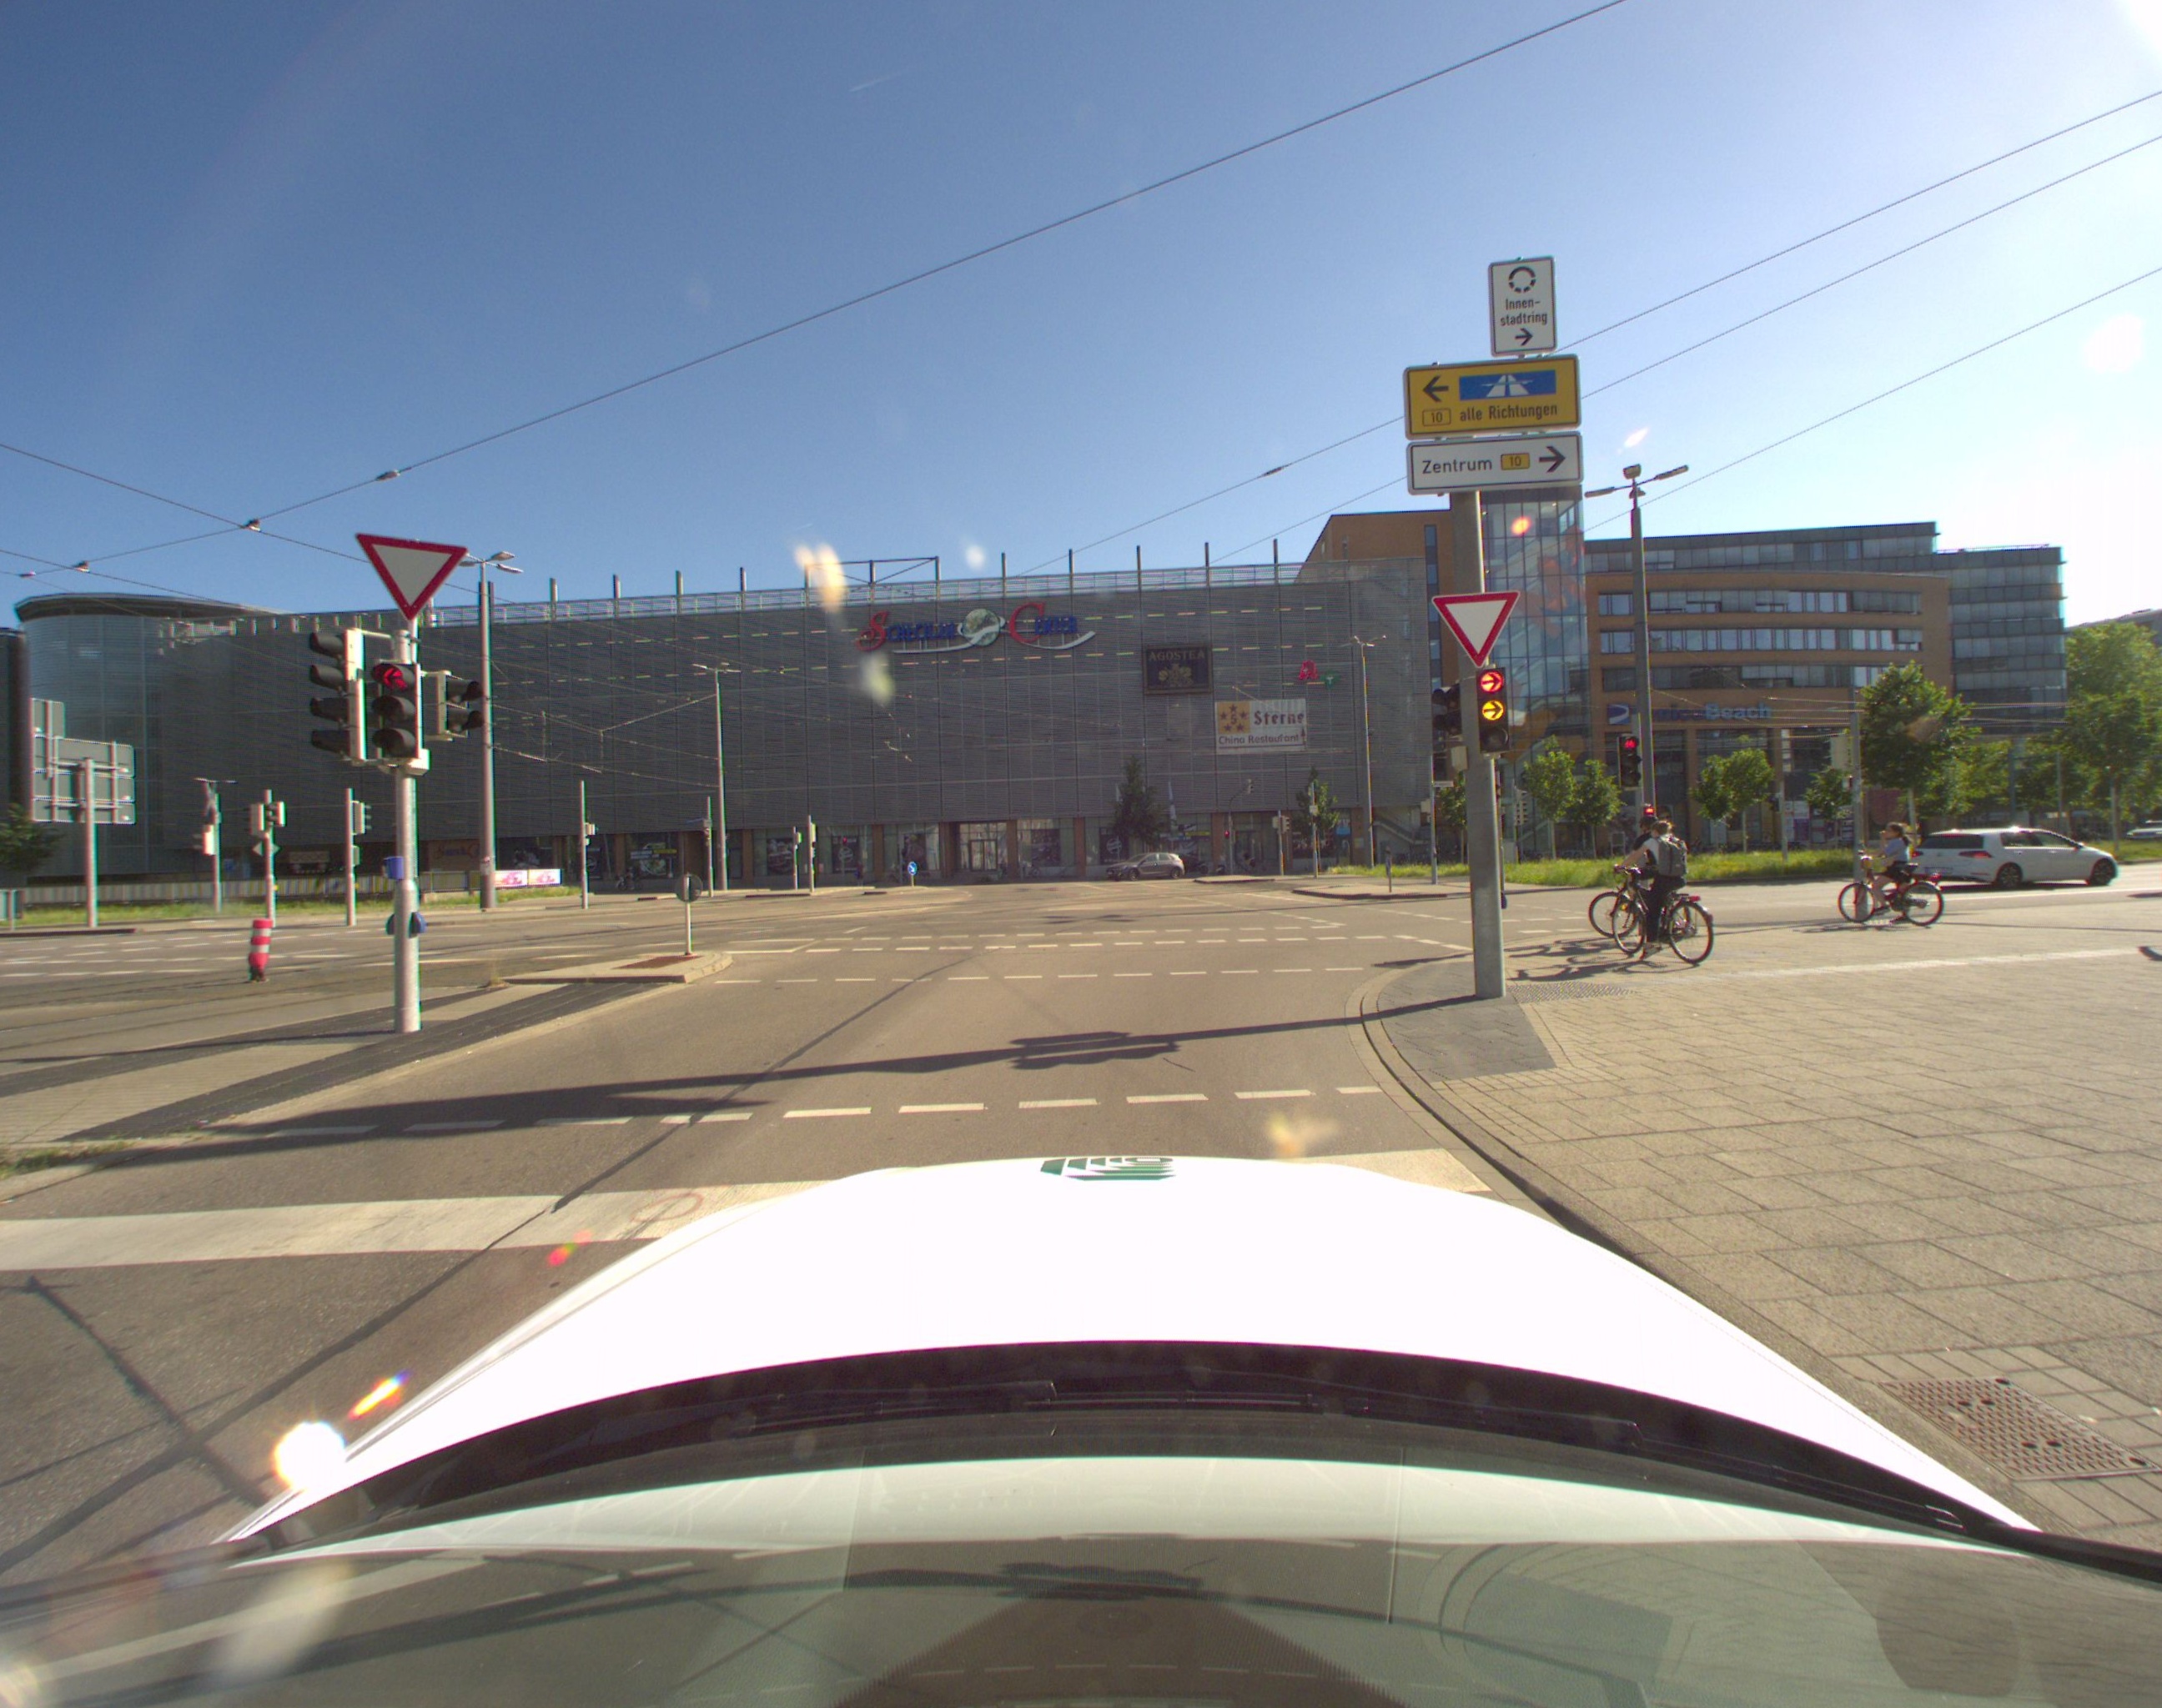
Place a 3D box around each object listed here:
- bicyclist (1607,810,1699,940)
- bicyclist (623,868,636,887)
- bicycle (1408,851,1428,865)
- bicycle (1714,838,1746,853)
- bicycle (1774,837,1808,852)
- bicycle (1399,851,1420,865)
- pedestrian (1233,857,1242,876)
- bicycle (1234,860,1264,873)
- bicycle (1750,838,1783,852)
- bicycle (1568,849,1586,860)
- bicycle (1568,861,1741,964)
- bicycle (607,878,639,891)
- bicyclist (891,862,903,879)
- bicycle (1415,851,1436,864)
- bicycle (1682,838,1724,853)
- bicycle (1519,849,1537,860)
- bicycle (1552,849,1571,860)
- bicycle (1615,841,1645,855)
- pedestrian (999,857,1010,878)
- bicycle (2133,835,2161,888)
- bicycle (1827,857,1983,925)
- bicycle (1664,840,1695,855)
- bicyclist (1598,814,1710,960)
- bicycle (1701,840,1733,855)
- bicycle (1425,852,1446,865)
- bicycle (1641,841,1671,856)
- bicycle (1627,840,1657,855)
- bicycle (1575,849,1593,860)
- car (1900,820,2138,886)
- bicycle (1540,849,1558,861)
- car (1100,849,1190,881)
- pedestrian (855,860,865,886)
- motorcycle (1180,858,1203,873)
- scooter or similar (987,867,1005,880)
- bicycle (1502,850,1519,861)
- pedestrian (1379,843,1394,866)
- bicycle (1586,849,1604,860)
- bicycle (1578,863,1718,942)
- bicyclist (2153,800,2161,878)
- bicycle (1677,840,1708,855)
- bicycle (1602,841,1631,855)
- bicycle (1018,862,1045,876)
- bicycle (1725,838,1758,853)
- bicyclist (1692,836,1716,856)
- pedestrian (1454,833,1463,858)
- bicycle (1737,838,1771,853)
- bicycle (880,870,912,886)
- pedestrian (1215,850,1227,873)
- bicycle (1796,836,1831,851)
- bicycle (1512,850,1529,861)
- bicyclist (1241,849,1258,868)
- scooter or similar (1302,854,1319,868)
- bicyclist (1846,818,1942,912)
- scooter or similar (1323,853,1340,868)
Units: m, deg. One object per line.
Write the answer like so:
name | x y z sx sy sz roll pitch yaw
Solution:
bicyclist | 8.306 0.298 11.864 0.547 1.798 0.905 -3 -2 -3
bicyclist | -33.359 1.719 60.152 0.652 1.410 0.560 -2 -1 0
bicycle | 25.043 0.283 60.545 0.490 0.954 2.178 -2 1 -3
bicycle | 51.494 -0.658 64.650 0.749 1.123 2.178 -2 1 -3
bicycle | 56.494 -0.775 64.833 0.749 1.123 2.178 -2 1 -3
bicycle | 24.396 0.291 60.523 0.490 0.954 2.178 -2 1 -3
pedestrian | 10.451 0.825 54.518 0.392 1.229 0.452 -2 -1 35
bicycle | 11.998 0.879 58.229 2.034 0.867 0.682 -2 -1 1
bicycle | 54.545 -0.710 64.816 0.749 1.123 2.178 -2 1 -3
bicycle | 37.683 0.040 61.897 0.443 0.819 1.449 -2 1 -3
bicycle | 6.944 0.672 10.010 0.692 1.105 2.012 -3 -2 2
bicycle | -33.836 2.252 60.126 2.008 0.811 0.560 -2 -1 0
bicyclist | -12.477 1.115 55.215 0.565 1.139 0.554 -1 -1 -31
bicycle | 25.615 0.260 60.575 0.490 0.954 2.178 -2 1 -3
bicycle | 46.326 -0.653 60.682 2.550 1.010 0.598 -2 -1 3
bicycle | 34.174 0.064 62.254 0.443 0.819 1.449 -2 1 -3
bicycle | 36.403 0.047 61.718 0.443 0.819 1.449 -2 1 -3
bicycle | 43.764 -0.484 64.952 0.749 1.123 2.178 -2 1 -3
pedestrian | -5.647 0.982 60.150 0.644 1.519 0.492 -2 -1 6
bicycle | 23.514 0.128 17.299 2.698 1.069 0.684 -2 1 -21
bicycle | 12.781 0.564 12.716 0.692 0.954 1.708 -3 -2 2
bicycle | 47.582 -0.516 64.785 0.749 1.123 2.178 -2 1 -3
bicyclist | 6.933 0.383 9.903 0.591 1.654 1.004 -3 -1 2
bicycle | 50.539 -0.538 64.754 0.749 1.123 2.178 -2 1 -3
bicycle | 26.457 0.319 60.740 0.490 0.954 2.178 -2 1 -3
bicycle | 45.917 -0.427 65.065 0.749 1.123 2.178 -2 1 -3
bicycle | 44.757 -0.502 65.008 0.749 1.123 2.178 -2 1 -3
bicycle | 38.258 0.026 61.950 0.443 0.819 1.449 -2 1 -3
car | 22.670 -0.054 19.757 4.277 1.403 1.774 -2 2 -8
bicycle | 35.518 0.065 61.796 0.443 0.819 1.449 -2 1 -3
car | 3.372 0.567 43.030 4.317 1.499 1.983 -2 -1 -26
pedestrian | -15.064 1.313 55.535 0.625 1.751 0.585 -2 -1 -17
motorcycle | 8.231 0.865 60.575 1.607 1.038 0.402 -2 -1 2
scooter or similar | -5.916 1.350 56.623 1.219 0.851 0.301 -2 -1 -1
bicycle | 32.663 0.087 61.905 0.443 0.819 1.449 -2 1 -3
pedestrian | 22.030 0.034 58.755 0.776 1.685 0.595 -2 -1 -12
bicycle | 39.133 0.020 62.007 0.443 0.819 1.449 -2 1 -3
bicycle | 8.310 0.684 12.049 0.603 1.038 1.893 -3 -2 -3
bicyclist | 23.483 -0.331 17.279 1.020 1.669 0.615 -2 1 -21
bicycle | 48.586 -0.524 64.749 0.749 1.123 2.178 -2 1 -3
bicycle | 42.714 -0.477 64.954 0.749 1.123 2.178 -2 1 -3
bicycle | -3.688 1.119 60.830 1.940 1.038 0.572 -2 -1 -3
bicycle | 52.340 -0.665 64.600 0.749 1.123 2.178 -2 1 -3
bicyclist | 46.418 -0.602 60.675 1.303 1.407 0.594 -2 -1 3
pedestrian | 29.153 -0.624 62.957 0.536 1.915 0.375 -1 -1 9
bicycle | 53.208 -0.653 64.416 0.749 1.123 2.178 -2 1 -3
bicycle | -12.545 1.622 55.150 2.028 0.985 0.554 -2 -1 -31
pedestrian | 9.561 0.515 55.535 0.734 1.487 0.491 -2 -1 11
bicycle | 58.303 -0.839 64.870 0.749 1.123 2.178 -2 1 -3
bicycle | 33.580 0.086 62.186 0.443 0.819 1.449 -2 1 -3
bicyclist | 12.044 0.342 58.238 1.032 1.318 0.682 -2 -1 1
scooter or similar | 17.278 0.532 61.408 1.196 1.103 0.277 0 -1 4
bicyclist | 12.707 0.172 12.752 0.585 1.404 0.827 -3 -2 1
scooter or similar | 18.906 0.502 61.527 1.196 1.103 0.277 0 -1 4
